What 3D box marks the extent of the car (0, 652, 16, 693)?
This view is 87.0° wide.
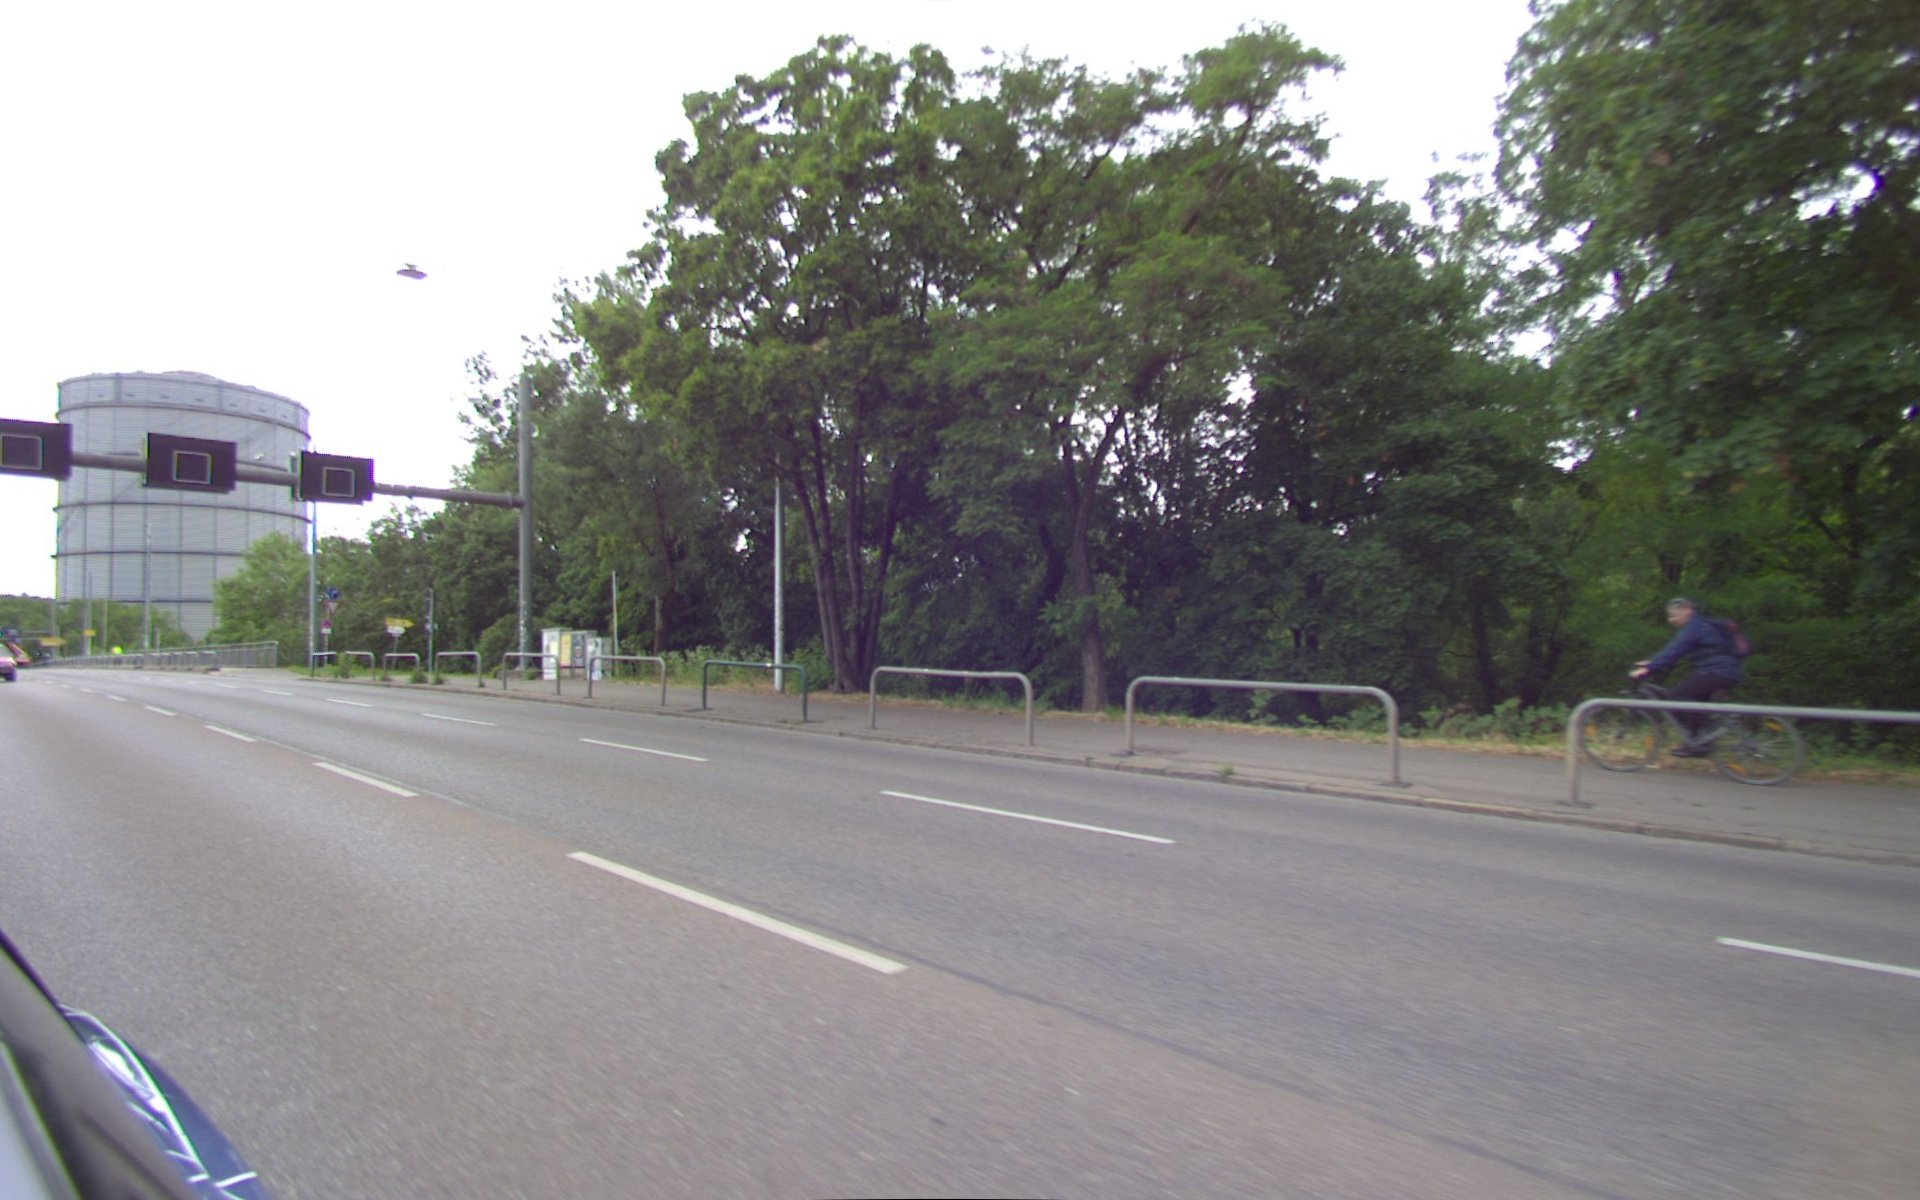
[{"bbox_3d":[-36.188,2.661,37.366,4.001,1.454,1.673,-3,-5,44],"label":"car"}]

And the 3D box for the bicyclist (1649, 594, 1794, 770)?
[{"bbox_3d":[6.987,0.732,9.305,0.984,1.528,0.509,-2,-4,43],"label":"bicyclist"}]

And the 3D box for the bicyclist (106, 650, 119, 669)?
[{"bbox_3d":[-69.735,4.902,83.287,0.619,1.486,0.671,-9,3,-44],"label":"bicyclist"}]

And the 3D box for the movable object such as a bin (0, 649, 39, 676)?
[{"bbox_3d":[-119.630,7.910,128.393,9.362,3.348,3.416,-3,-5,45],"label":"movable object such as a bin"}]

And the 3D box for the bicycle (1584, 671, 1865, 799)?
[{"bbox_3d":[6.961,1.183,9.310,2.002,1.009,0.479,-2,-4,43],"label":"bicycle"}]

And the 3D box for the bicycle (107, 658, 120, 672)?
[{"bbox_3d":[-69.703,5.352,83.342,0.628,1.071,1.984,-9,3,-43],"label":"bicycle"}]
